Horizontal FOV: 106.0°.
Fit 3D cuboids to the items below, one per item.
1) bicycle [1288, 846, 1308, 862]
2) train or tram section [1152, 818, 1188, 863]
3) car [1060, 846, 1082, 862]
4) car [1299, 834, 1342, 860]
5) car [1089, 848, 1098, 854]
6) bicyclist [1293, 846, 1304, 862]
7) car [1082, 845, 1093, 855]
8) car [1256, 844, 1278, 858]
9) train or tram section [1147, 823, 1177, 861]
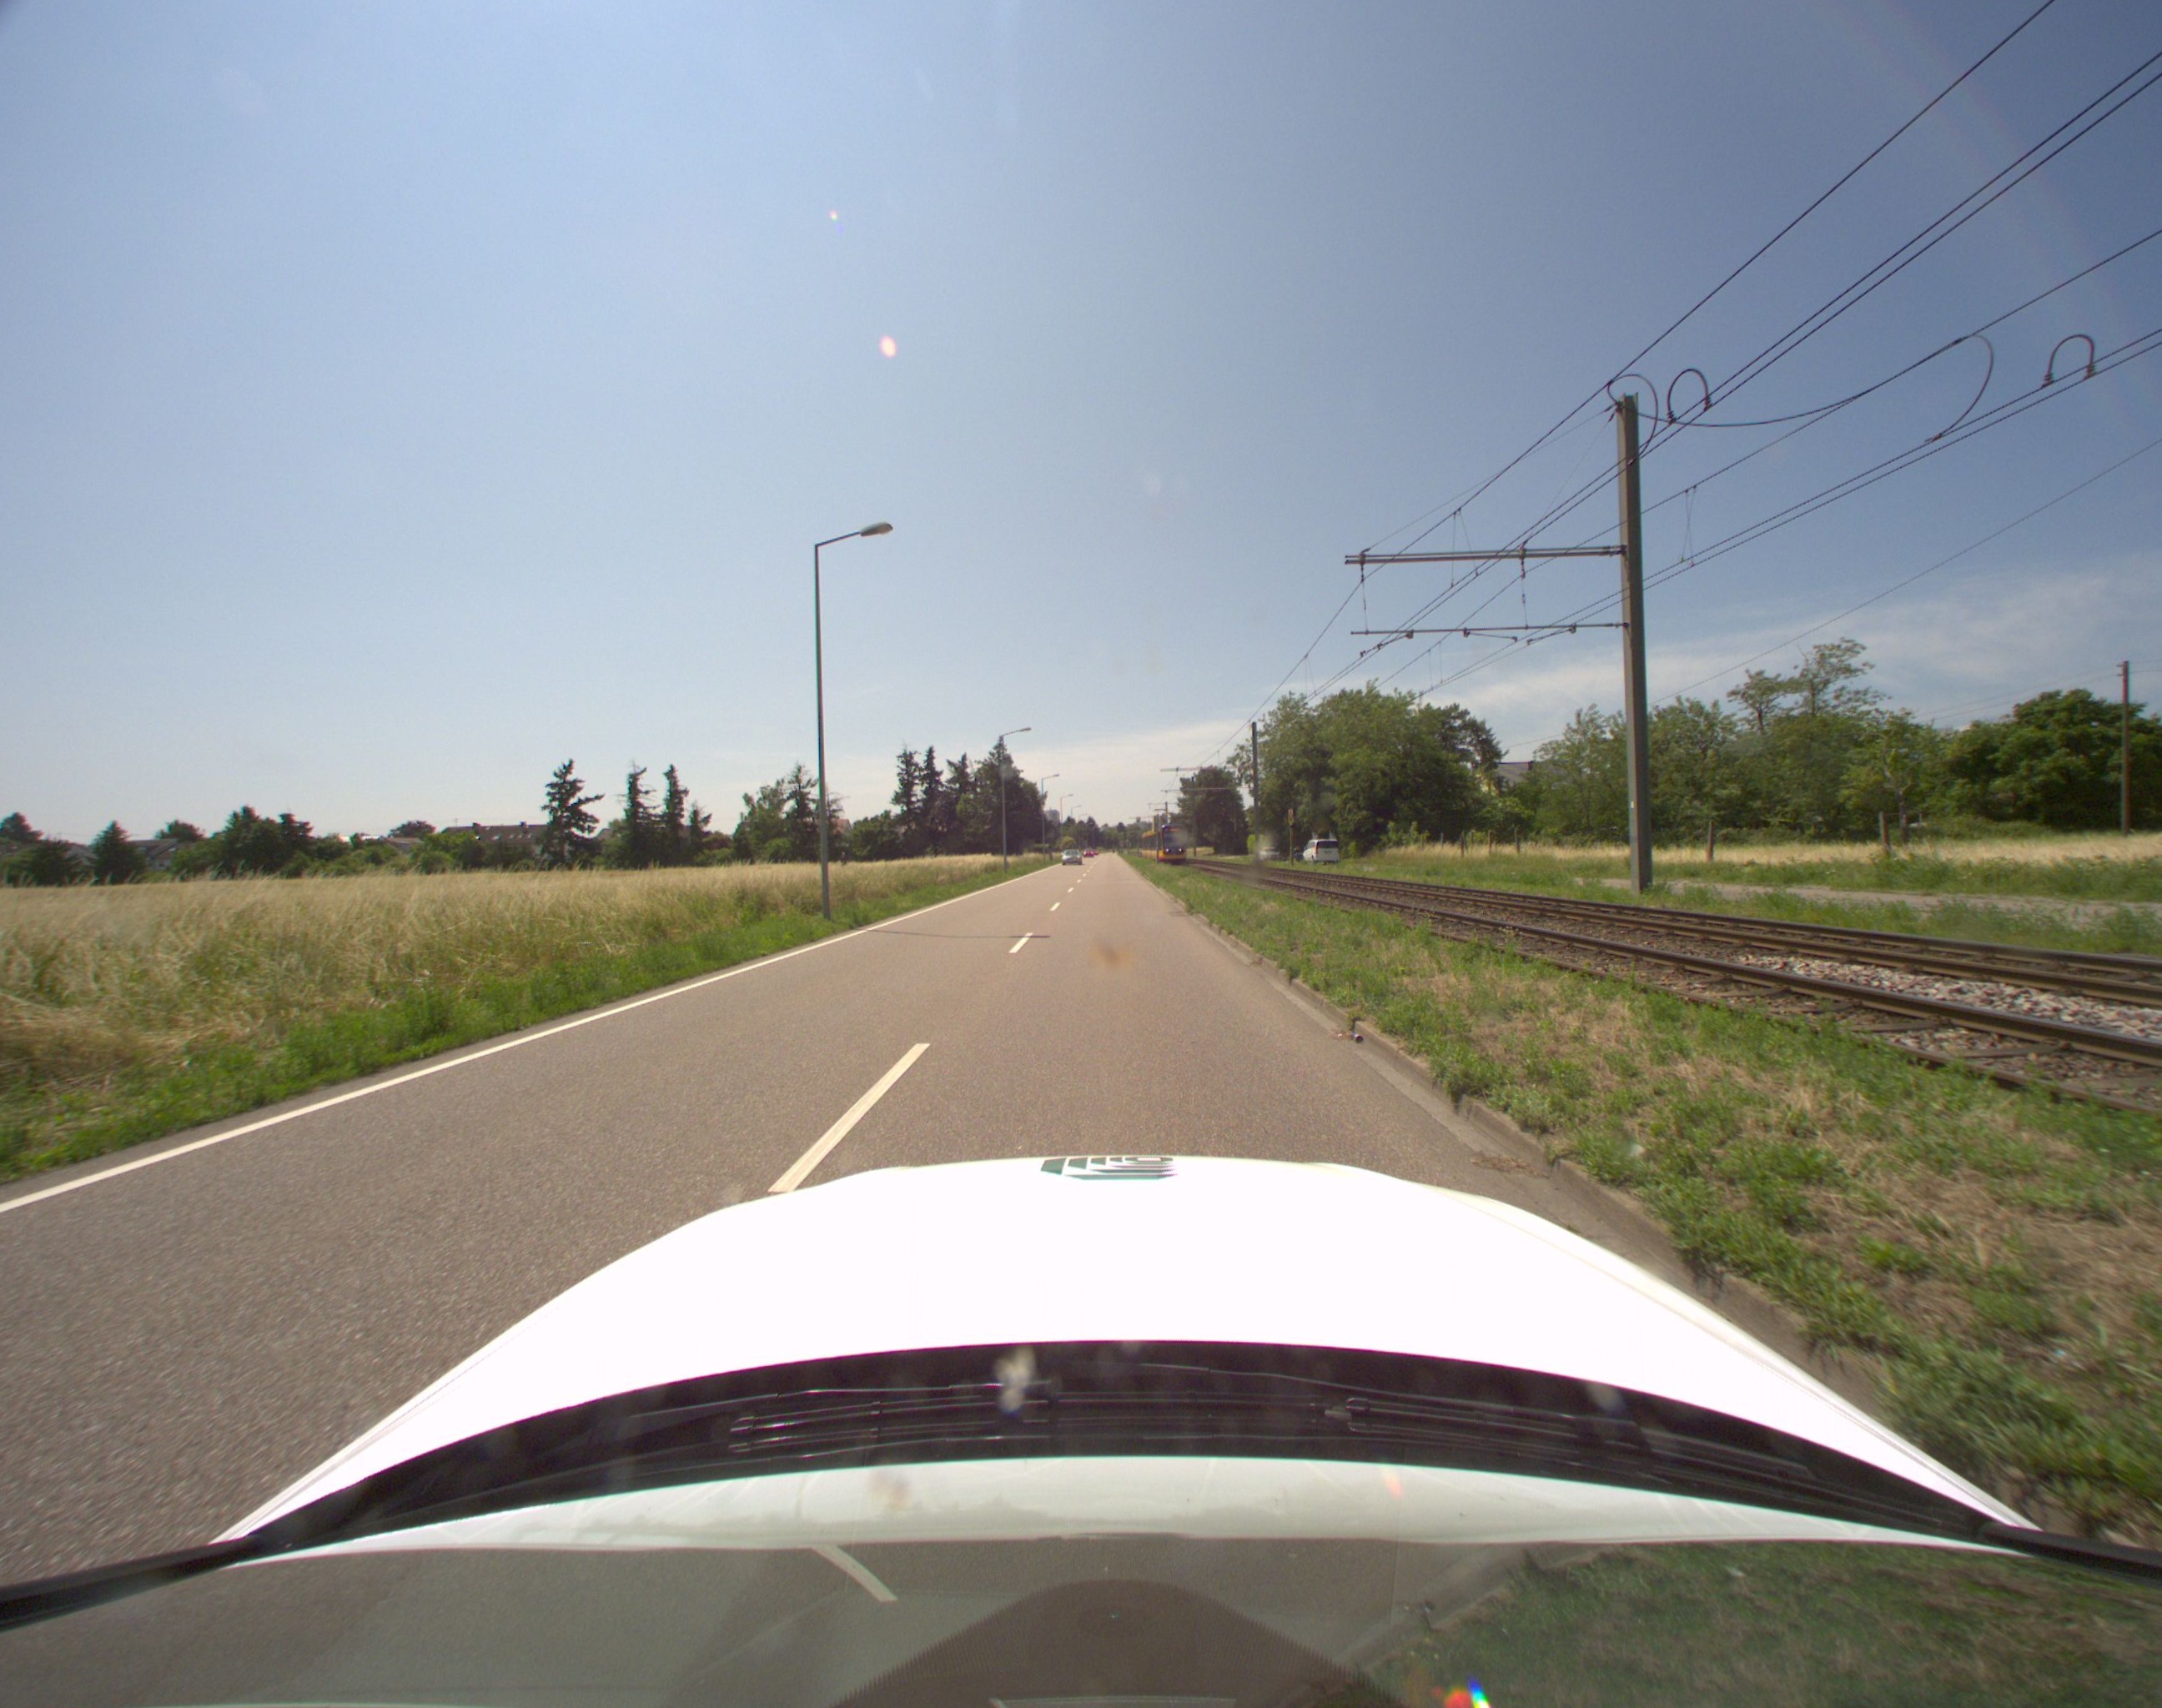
[{"bbox_3d":[19.427,0.017,73.015,0.924,1.430,3.387,-2,-1,2],"label":"bicycle"},{"bbox_3d":[8.170,-1.125,76.005,2.420,3.766,11.563,-2,-1,2],"label":"train or tram section"},{"bbox_3d":[-0.928,-0.007,79.470,1.827,1.467,4.680,-2,-1,2],"label":"car"},{"bbox_3d":[18.242,-0.503,62.188,1.986,1.802,4.796,-2,-1,2],"label":"car"},{"bbox_3d":[2.827,-0.674,178.686,1.800,1.285,4.288,-2,-1,2],"label":"car"},{"bbox_3d":[19.452,-0.007,72.927,0.699,1.338,0.904,-2,-1,2],"label":"bicyclist"},{"bbox_3d":[1.099,-0.605,131.323,1.639,1.400,3.846,-2,-1,2],"label":"car"},{"bbox_3d":[18.549,-0.267,81.370,1.422,1.308,3.467,-2,-1,2],"label":"car"},{"bbox_3d":[8.434,-1.192,85.152,2.551,3.713,6.732,-2,-1,2],"label":"train or tram section"}]
